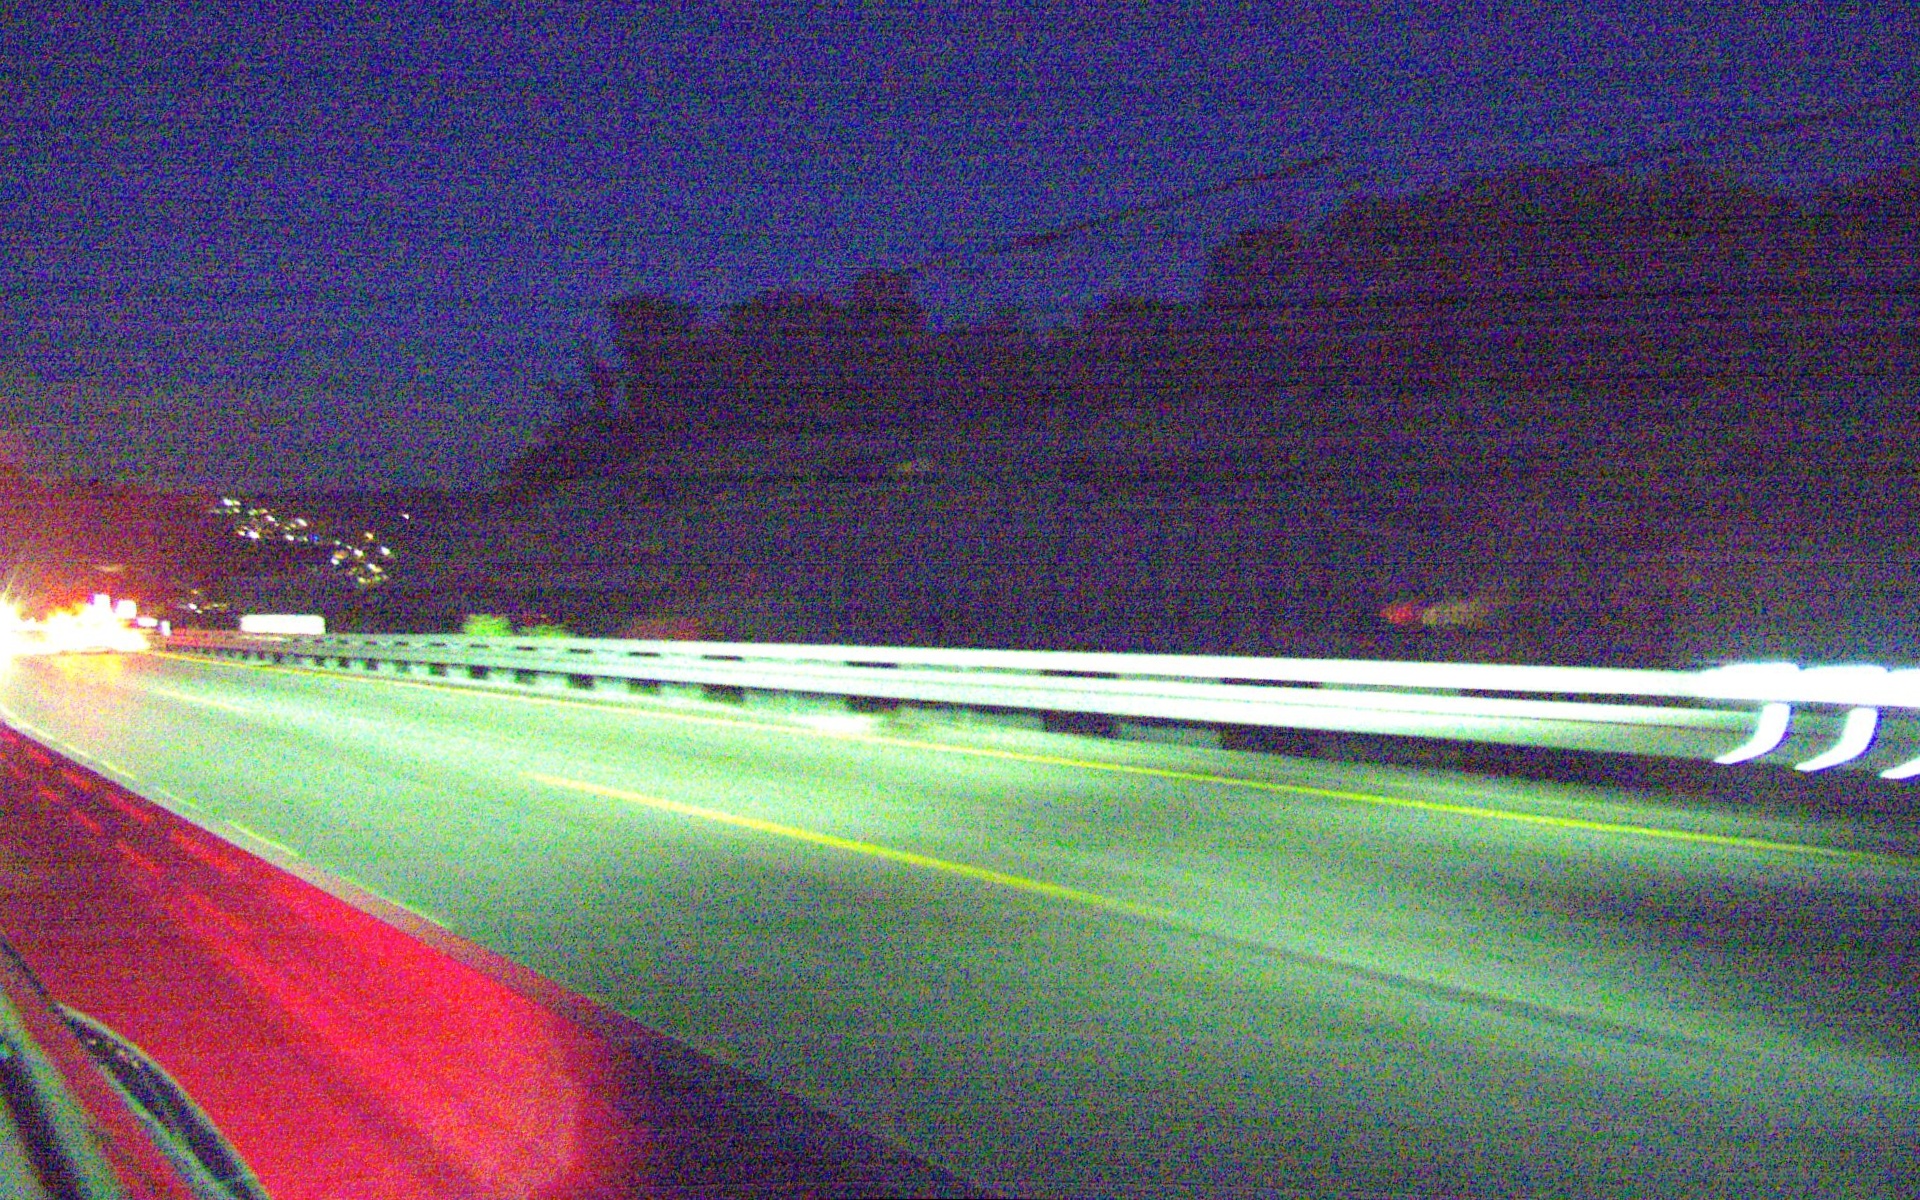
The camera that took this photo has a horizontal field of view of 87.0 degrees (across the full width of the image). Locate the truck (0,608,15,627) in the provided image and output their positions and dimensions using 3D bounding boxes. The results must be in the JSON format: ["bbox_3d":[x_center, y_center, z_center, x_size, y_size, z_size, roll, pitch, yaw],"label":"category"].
[{"bbox_3d":[-124.937,2.334,131.540,2.389,2.443,7.105,0,-1,-38],"label":"truck"}]

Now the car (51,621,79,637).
[{"bbox_3d":[-95.377,3.094,107.891,1.987,1.652,4.871,1,-1,-40],"label":"car"}]

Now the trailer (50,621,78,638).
[{"bbox_3d":[-92.708,3.076,104.729,1.988,1.652,3.423,1,-1,-40],"label":"trailer"}]

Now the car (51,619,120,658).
[{"bbox_3d":[-35.119,1.522,40.608,4.200,1.470,1.666,-1,-1,43],"label":"car"}]
